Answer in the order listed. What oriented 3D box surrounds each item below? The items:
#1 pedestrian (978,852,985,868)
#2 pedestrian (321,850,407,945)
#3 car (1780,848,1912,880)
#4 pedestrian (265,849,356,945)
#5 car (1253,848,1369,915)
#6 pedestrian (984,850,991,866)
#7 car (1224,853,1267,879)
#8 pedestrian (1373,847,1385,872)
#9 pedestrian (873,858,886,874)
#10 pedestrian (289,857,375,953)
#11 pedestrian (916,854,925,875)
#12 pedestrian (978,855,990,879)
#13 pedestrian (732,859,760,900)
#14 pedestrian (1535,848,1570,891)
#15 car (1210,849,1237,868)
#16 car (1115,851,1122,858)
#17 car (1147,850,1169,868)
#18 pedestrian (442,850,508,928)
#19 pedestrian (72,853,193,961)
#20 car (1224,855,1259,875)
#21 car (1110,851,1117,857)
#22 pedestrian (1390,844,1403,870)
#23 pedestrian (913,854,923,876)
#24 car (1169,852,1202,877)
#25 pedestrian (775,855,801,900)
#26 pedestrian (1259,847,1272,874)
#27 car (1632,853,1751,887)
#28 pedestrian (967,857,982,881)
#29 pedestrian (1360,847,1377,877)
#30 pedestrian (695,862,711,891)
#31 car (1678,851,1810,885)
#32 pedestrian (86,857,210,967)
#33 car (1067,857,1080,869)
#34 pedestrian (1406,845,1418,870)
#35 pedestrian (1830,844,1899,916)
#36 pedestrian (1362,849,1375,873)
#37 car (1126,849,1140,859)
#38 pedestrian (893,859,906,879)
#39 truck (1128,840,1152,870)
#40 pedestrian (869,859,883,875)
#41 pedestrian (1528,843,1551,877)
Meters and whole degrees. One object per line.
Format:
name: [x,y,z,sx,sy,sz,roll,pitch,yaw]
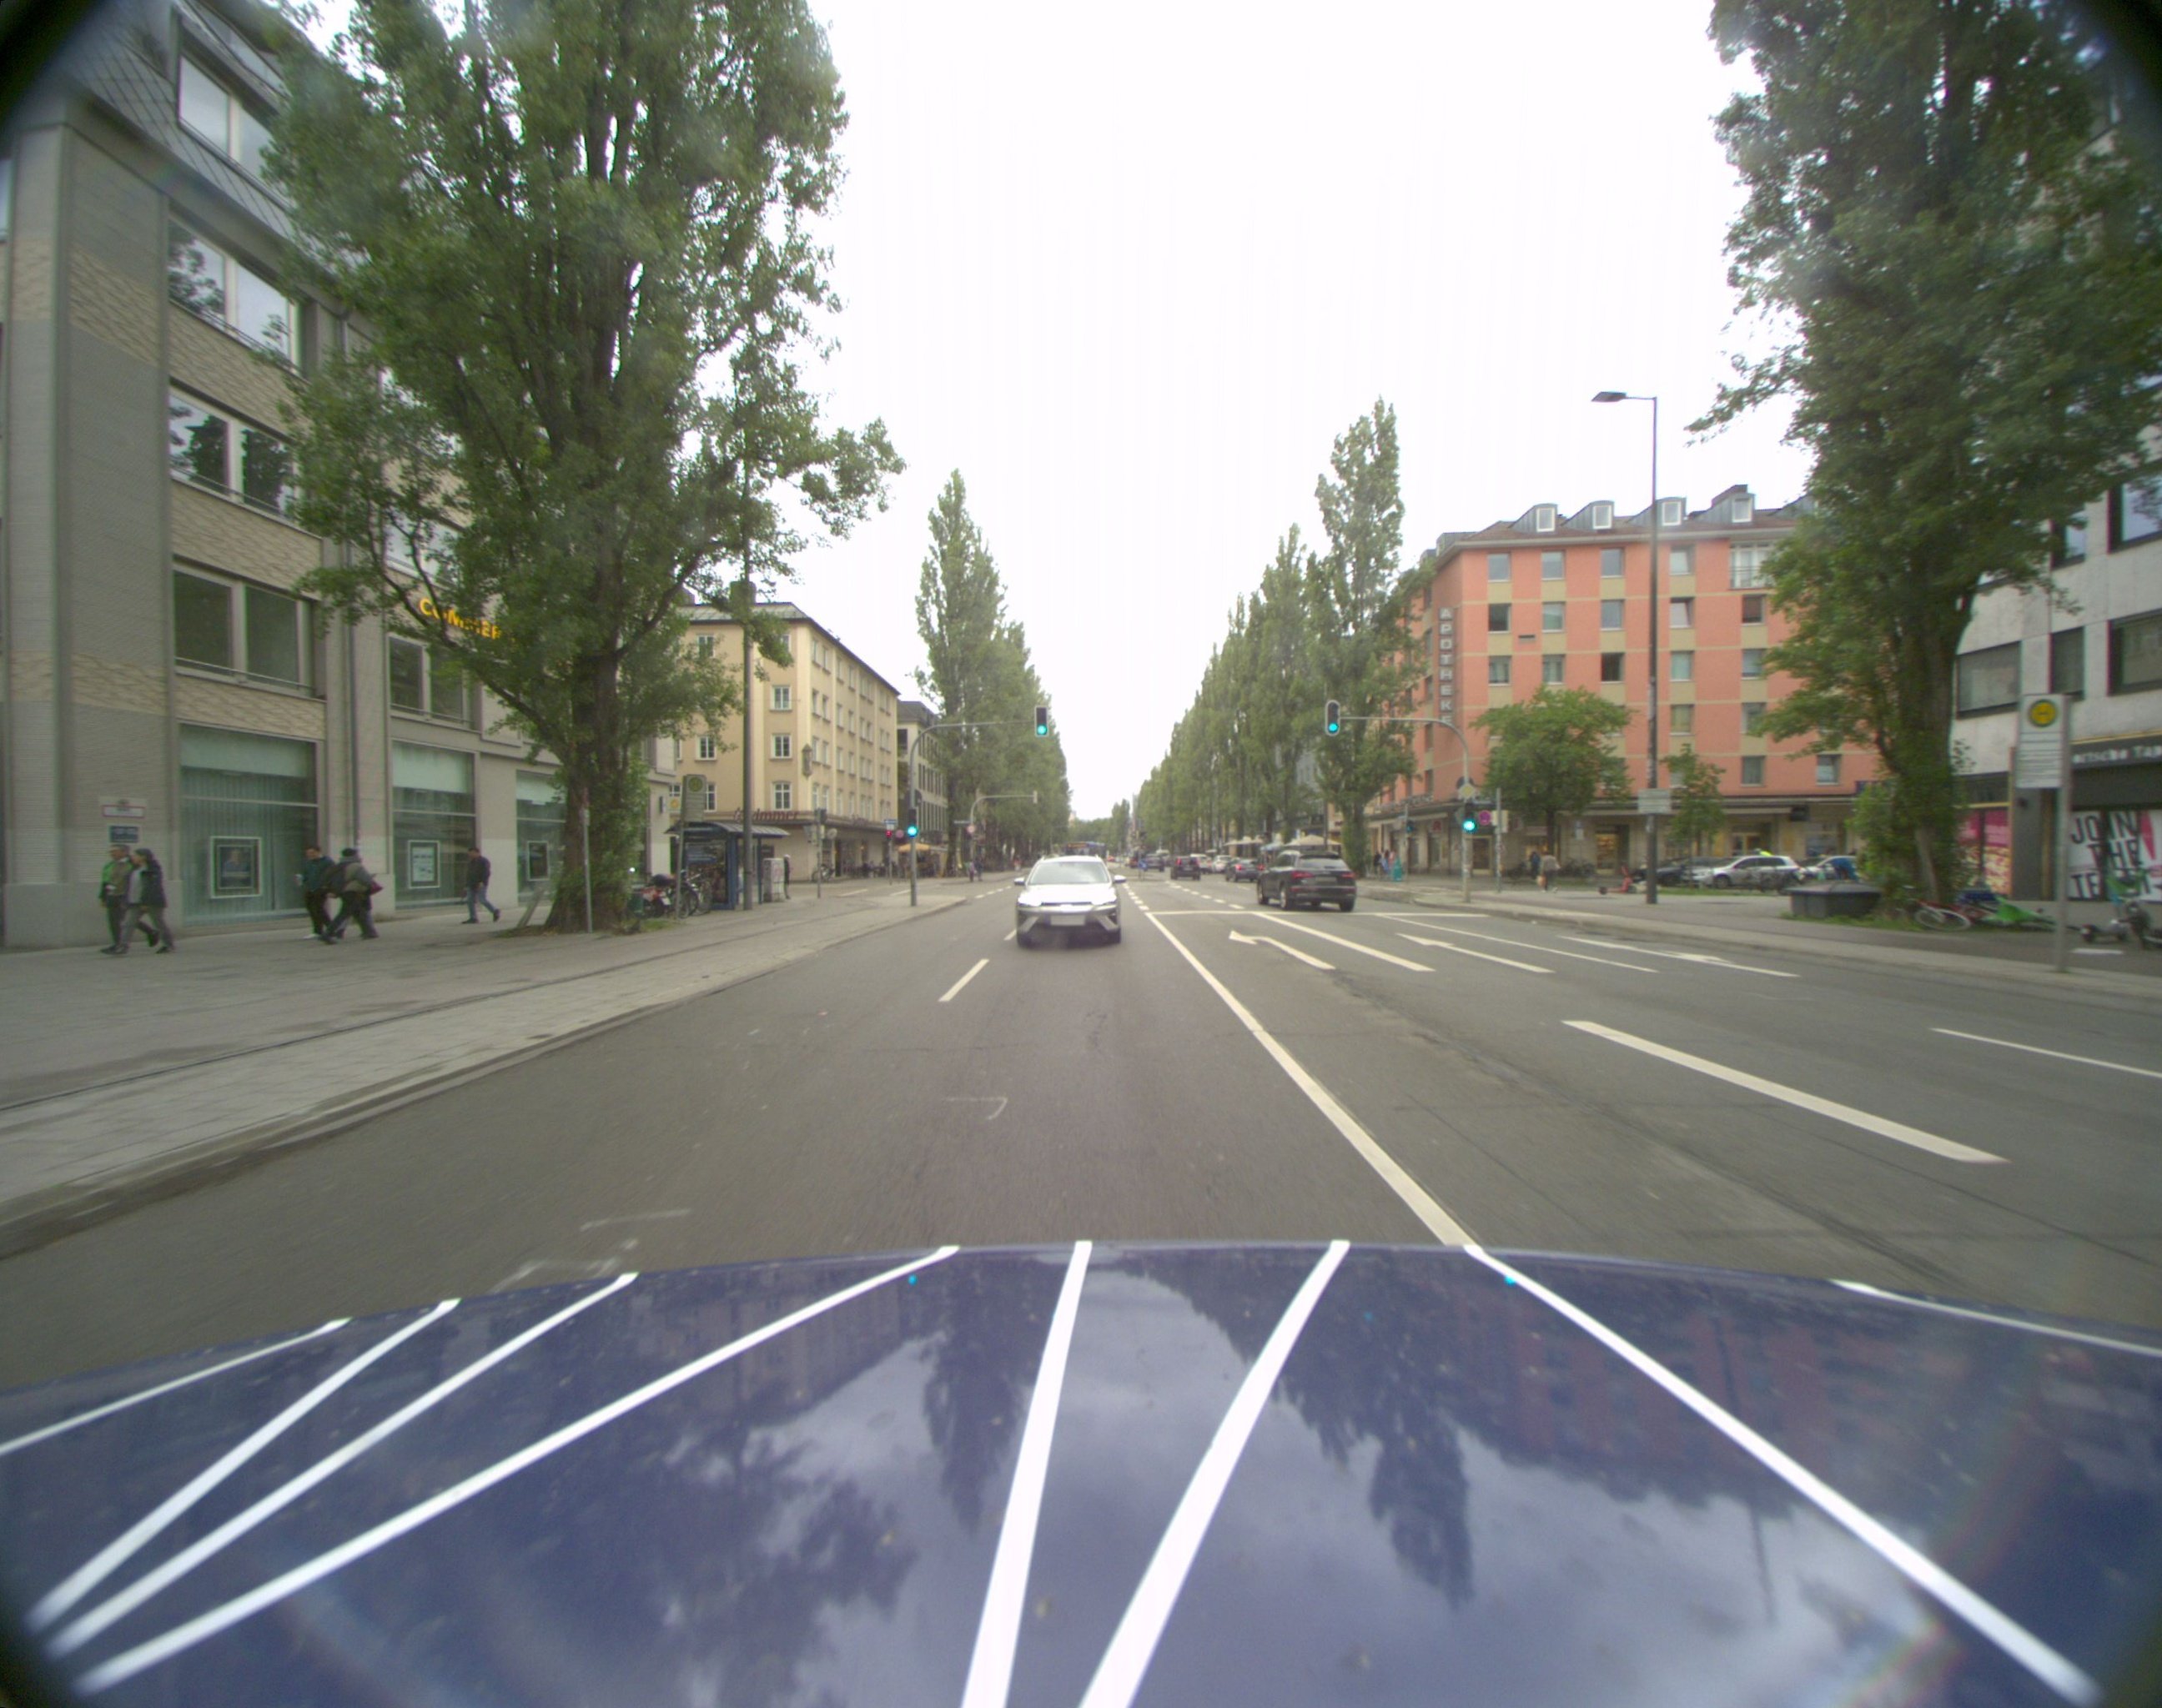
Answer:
pedestrian: [-11.927,0.732,90.703,0.658,1.840,0.906,0,1,3]
pedestrian: [-13.803,0.815,14.652,0.752,1.748,0.859,0,3,2]
car: [35.147,0.473,35.011,3.942,1.412,1.892,-1,0,10]
pedestrian: [-14.606,0.792,14.424,0.752,1.748,0.859,0,3,2]
car: [6.395,0.686,21.686,1.918,1.671,4.586,1,0,1]
pedestrian: [-11.175,0.482,90.775,0.658,1.959,0.722,0,0,4]
car: [9.668,0.686,44.910,1.646,1.431,3.997,1,0,0]
pedestrian: [19.882,0.389,50.693,0.508,1.661,0.626,-1,1,2]
pedestrian: [-15.397,0.913,58.160,0.777,1.257,0.699,-1,1,1]
pedestrian: [-13.477,0.894,13.699,0.561,1.656,0.929,-1,1,2]
pedestrian: [-13.115,0.836,62.014,0.541,1.664,0.537,0,1,8]
pedestrian: [-6.594,0.875,51.712,0.767,1.600,0.864,0,1,-3]
pedestrian: [-14.744,1.119,33.491,0.752,1.747,1.017,0,0,2]
pedestrian: [17.883,0.579,28.838,0.780,1.609,0.934,0,1,1]
car: [12.444,0.411,66.609,1.707,1.574,4.096,1,1,1]
car: [9.997,0.098,201.644,1.848,1.626,4.575,1,0,2]
car: [7.509,0.464,74.523,1.889,1.736,4.439,-1,0,2]
pedestrian: [-14.415,0.813,18.096,0.820,1.807,0.890,-1,1,-1]
pedestrian: [-15.733,0.848,12.633,0.752,1.708,0.963,-1,0,2]
car: [12.402,0.852,59.009,1.707,1.430,4.589,1,1,-1]
car: [9.580,-0.058,223.691,1.848,1.626,4.575,1,0,2]
pedestrian: [21.032,0.199,50.701,0.631,1.679,0.519,-2,1,2]
pedestrian: [-12.480,0.865,58.203,0.541,1.664,0.537,0,1,8]
car: [6.532,0.643,47.904,1.565,1.487,3.694,1,0,0]
pedestrian: [-11.612,0.919,30.131,0.710,1.748,0.752,-1,1,2]
pedestrian: [12.384,0.416,51.001,0.736,1.785,0.994,-2,1,19]
car: [28.456,0.745,35.527,3.994,1.412,1.783,-2,1,10]
pedestrian: [-6.979,0.969,49.751,0.620,1.509,0.767,-3,4,-45]
pedestrian: [17.223,0.484,45.542,0.726,1.761,0.778,0,1,2]
pedestrian: [-20.693,1.229,41.624,0.584,1.548,0.445,-2,1,2]
car: [28.660,0.584,32.976,3.994,1.412,1.783,-1,0,10]
pedestrian: [-14.808,0.893,12.087,0.752,1.667,0.963,0,1,2]
car: [-1.142,1.296,110.966,1.758,1.529,3.916,-2,0,0]
pedestrian: [22.171,0.214,50.905,0.588,1.681,0.514,0,1,1]
pedestrian: [19.541,0.624,18.970,0.729,1.730,0.942,-2,1,1]
pedestrian: [19.098,0.487,50.477,0.658,1.574,0.548,-1,1,2]
car: [7.942,0.010,115.712,1.848,1.493,4.986,0,0,1]
pedestrian: [-14.619,1.184,61.190,0.777,1.580,0.699,-1,1,1]
truck: [7.370,0.042,96.174,2.469,3.649,8.438,0,1,1]
pedestrian: [-15.198,0.970,56.380,0.870,1.192,0.699,-1,1,1]
pedestrian: [23.309,0.302,38.641,0.780,1.756,0.692,-1,1,1]
